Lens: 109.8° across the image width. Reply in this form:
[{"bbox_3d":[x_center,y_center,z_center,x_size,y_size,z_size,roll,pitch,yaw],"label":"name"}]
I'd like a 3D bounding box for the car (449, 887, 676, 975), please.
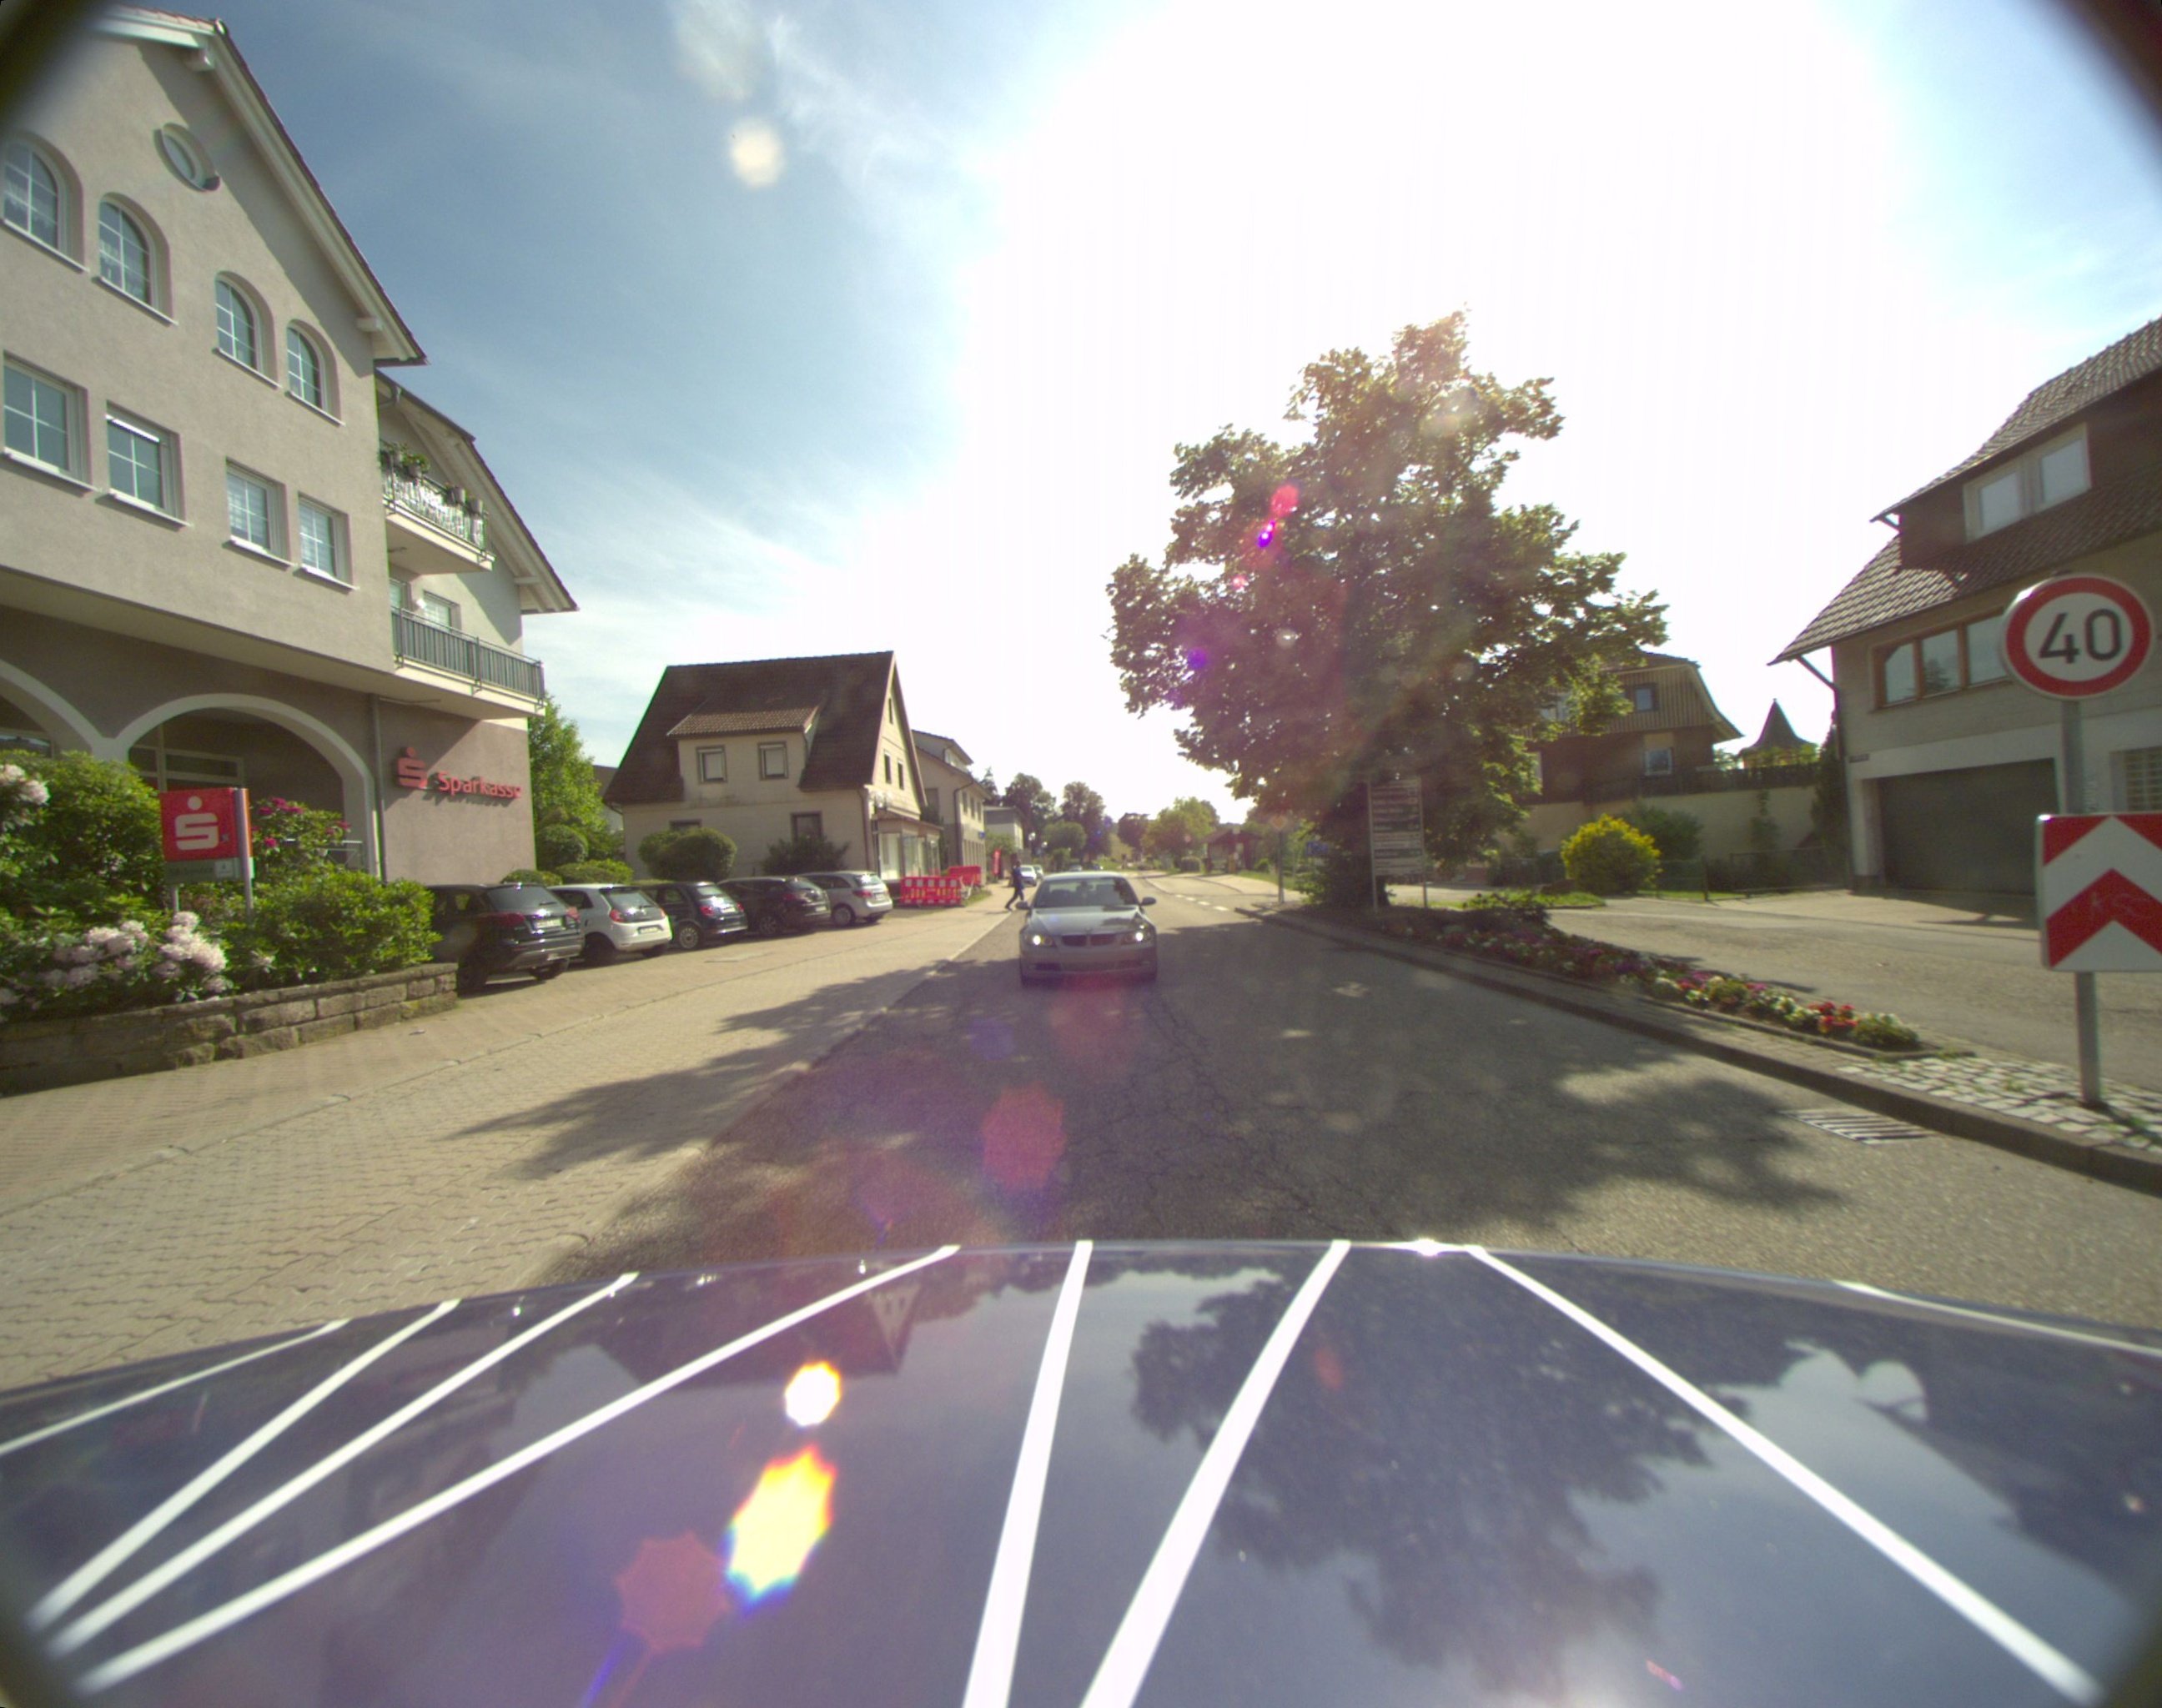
[{"bbox_3d":[-9.756,1.430,14.429,3.240,1.460,1.629,-2,0,7],"label":"car"}]

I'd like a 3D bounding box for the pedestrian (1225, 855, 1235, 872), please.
[{"bbox_3d":[11.139,0.730,56.919,0.631,1.245,0.423,-1,0,-3],"label":"pedestrian"}]

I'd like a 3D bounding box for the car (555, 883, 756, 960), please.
[{"bbox_3d":[-9.364,1.464,16.869,3.566,1.409,1.583,-3,0,7],"label":"car"}]

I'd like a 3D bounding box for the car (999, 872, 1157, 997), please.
[{"bbox_3d":[-0.014,1.005,11.314,1.838,1.360,4.581,-2,0,0],"label":"car"}]

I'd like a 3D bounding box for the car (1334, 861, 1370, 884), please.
[{"bbox_3d":[16.704,1.104,46.962,1.723,1.289,4.004,-1,0,14],"label":"car"}]

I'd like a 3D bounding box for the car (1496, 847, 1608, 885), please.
[{"bbox_3d":[23.254,0.595,37.686,4.309,1.503,1.801,-4,1,9],"label":"car"}]

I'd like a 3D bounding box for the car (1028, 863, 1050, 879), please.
[{"bbox_3d":[-3.882,1.553,70.562,1.764,1.415,3.634,-1,0,2],"label":"car"}]

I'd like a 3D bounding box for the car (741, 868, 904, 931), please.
[{"bbox_3d":[-7.311,1.262,21.646,3.868,1.549,1.965,-3,0,12],"label":"car"}]

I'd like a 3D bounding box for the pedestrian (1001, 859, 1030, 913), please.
[{"bbox_3d":[-2.231,1.083,26.078,0.801,1.774,0.980,-2,0,4],"label":"pedestrian"}]

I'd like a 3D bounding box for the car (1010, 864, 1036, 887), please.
[{"bbox_3d":[-3.964,1.411,51.837,1.640,1.411,3.933,-2,0,-6],"label":"car"}]

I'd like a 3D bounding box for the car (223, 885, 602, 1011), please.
[{"bbox_3d":[-9.766,1.333,11.357,3.996,1.539,1.881,-2,0,2],"label":"car"}]

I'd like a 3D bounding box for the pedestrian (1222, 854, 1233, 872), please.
[{"bbox_3d":[11.083,0.691,57.558,0.619,1.356,0.674,-1,-1,-2],"label":"pedestrian"}]

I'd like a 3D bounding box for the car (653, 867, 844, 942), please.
[{"bbox_3d":[-8.288,1.242,19.087,3.994,1.540,1.739,-4,0,10],"label":"car"}]
